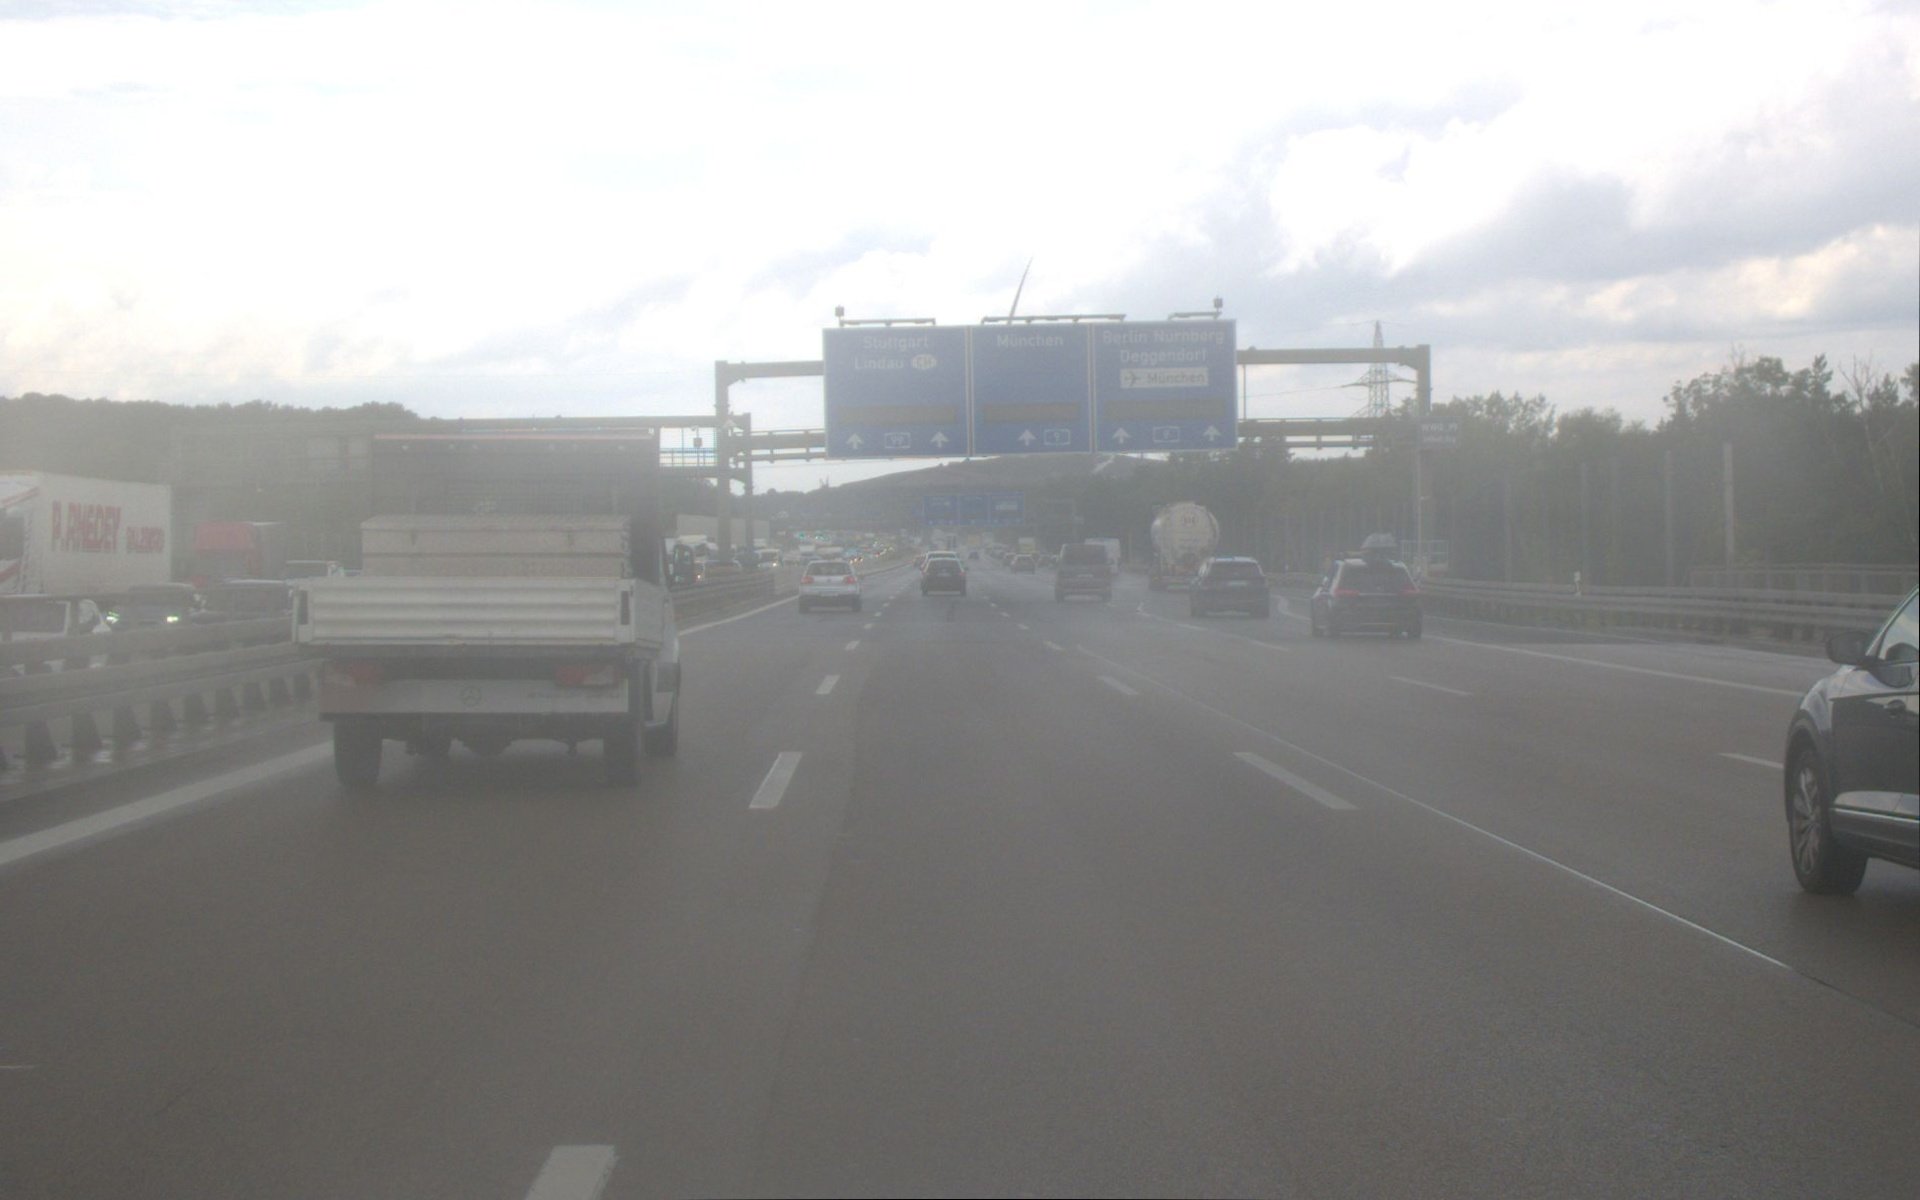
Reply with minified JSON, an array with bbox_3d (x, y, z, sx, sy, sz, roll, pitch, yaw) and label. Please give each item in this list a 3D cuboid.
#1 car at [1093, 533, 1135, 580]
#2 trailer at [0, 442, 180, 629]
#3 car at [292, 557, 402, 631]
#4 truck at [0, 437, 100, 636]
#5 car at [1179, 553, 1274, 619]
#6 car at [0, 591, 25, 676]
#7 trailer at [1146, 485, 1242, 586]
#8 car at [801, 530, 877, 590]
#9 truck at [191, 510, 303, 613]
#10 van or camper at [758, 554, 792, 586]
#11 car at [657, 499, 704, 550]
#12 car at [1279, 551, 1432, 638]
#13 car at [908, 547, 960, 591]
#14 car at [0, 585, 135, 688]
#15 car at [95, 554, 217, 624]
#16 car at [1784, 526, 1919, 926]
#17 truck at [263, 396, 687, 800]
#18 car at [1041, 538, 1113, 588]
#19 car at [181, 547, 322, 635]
[{"bbox_3d":[8.321,-2.370,186.166,2.045,2.489,4.000,0,1,0],"label":"car"},{"bbox_3d":[-21.699,-1.566,83.001,3.186,4.179,11.958,0,1,-1],"label":"trailer"},{"bbox_3d":[-13.990,-0.160,78.699,1.792,1.613,4.000,-1,1,0],"label":"car"},{"bbox_3d":[-21.581,-1.413,76.271,3.177,4.180,7.738,0,1,-1],"label":"truck"},{"bbox_3d":[7.057,-0.396,91.501,2.045,1.693,5.007,0,1,-1],"label":"car"},{"bbox_3d":[-17.871,0.583,60.247,1.645,1.505,4.860,0,-1,0],"label":"car"},{"bbox_3d":[10.110,-2.791,149.705,3.333,4.161,11.838,1,1,0],"label":"trailer"},{"bbox_3d":[-3.446,-1.168,98.712,2.045,1.693,4.000,0,1,0],"label":"car"},{"bbox_3d":[-25.243,-1.403,122.009,2.463,3.524,7.808,0,1,-1],"label":"truck"},{"bbox_3d":[-13.000,-2.123,242.164,2.095,2.178,4.971,0,1,0],"label":"van or camper"},{"bbox_3d":[-18.452,-4.998,227.203,2.497,3.289,7.627,0,1,0],"label":"car"},{"bbox_3d":[7.642,-0.138,66.911,2.104,1.600,5.066,0,1,-3],"label":"car"},{"bbox_3d":[-1.024,-1.223,135.943,2.045,1.693,4.000,0,1,0],"label":"car"},{"bbox_3d":[-13.322,0.500,49.639,1.719,1.349,4.626,-1,1,-1],"label":"car"},{"bbox_3d":[-17.992,-0.276,77.104,1.645,1.498,4.677,-1,1,0],"label":"car"},{"bbox_3d":[4.632,0.495,13.551,1.792,1.557,3.722,1,1,-1],"label":"car"},{"bbox_3d":[-3.208,-0.080,24.368,2.352,2.400,7.359,1,1,-3],"label":"truck"},{"bbox_3d":[4.027,-1.302,118.639,2.097,1.693,4.001,0,1,-3],"label":"car"},{"bbox_3d":[-13.522,-0.204,65.811,1.792,1.613,4.284,-1,1,0],"label":"car"}]
